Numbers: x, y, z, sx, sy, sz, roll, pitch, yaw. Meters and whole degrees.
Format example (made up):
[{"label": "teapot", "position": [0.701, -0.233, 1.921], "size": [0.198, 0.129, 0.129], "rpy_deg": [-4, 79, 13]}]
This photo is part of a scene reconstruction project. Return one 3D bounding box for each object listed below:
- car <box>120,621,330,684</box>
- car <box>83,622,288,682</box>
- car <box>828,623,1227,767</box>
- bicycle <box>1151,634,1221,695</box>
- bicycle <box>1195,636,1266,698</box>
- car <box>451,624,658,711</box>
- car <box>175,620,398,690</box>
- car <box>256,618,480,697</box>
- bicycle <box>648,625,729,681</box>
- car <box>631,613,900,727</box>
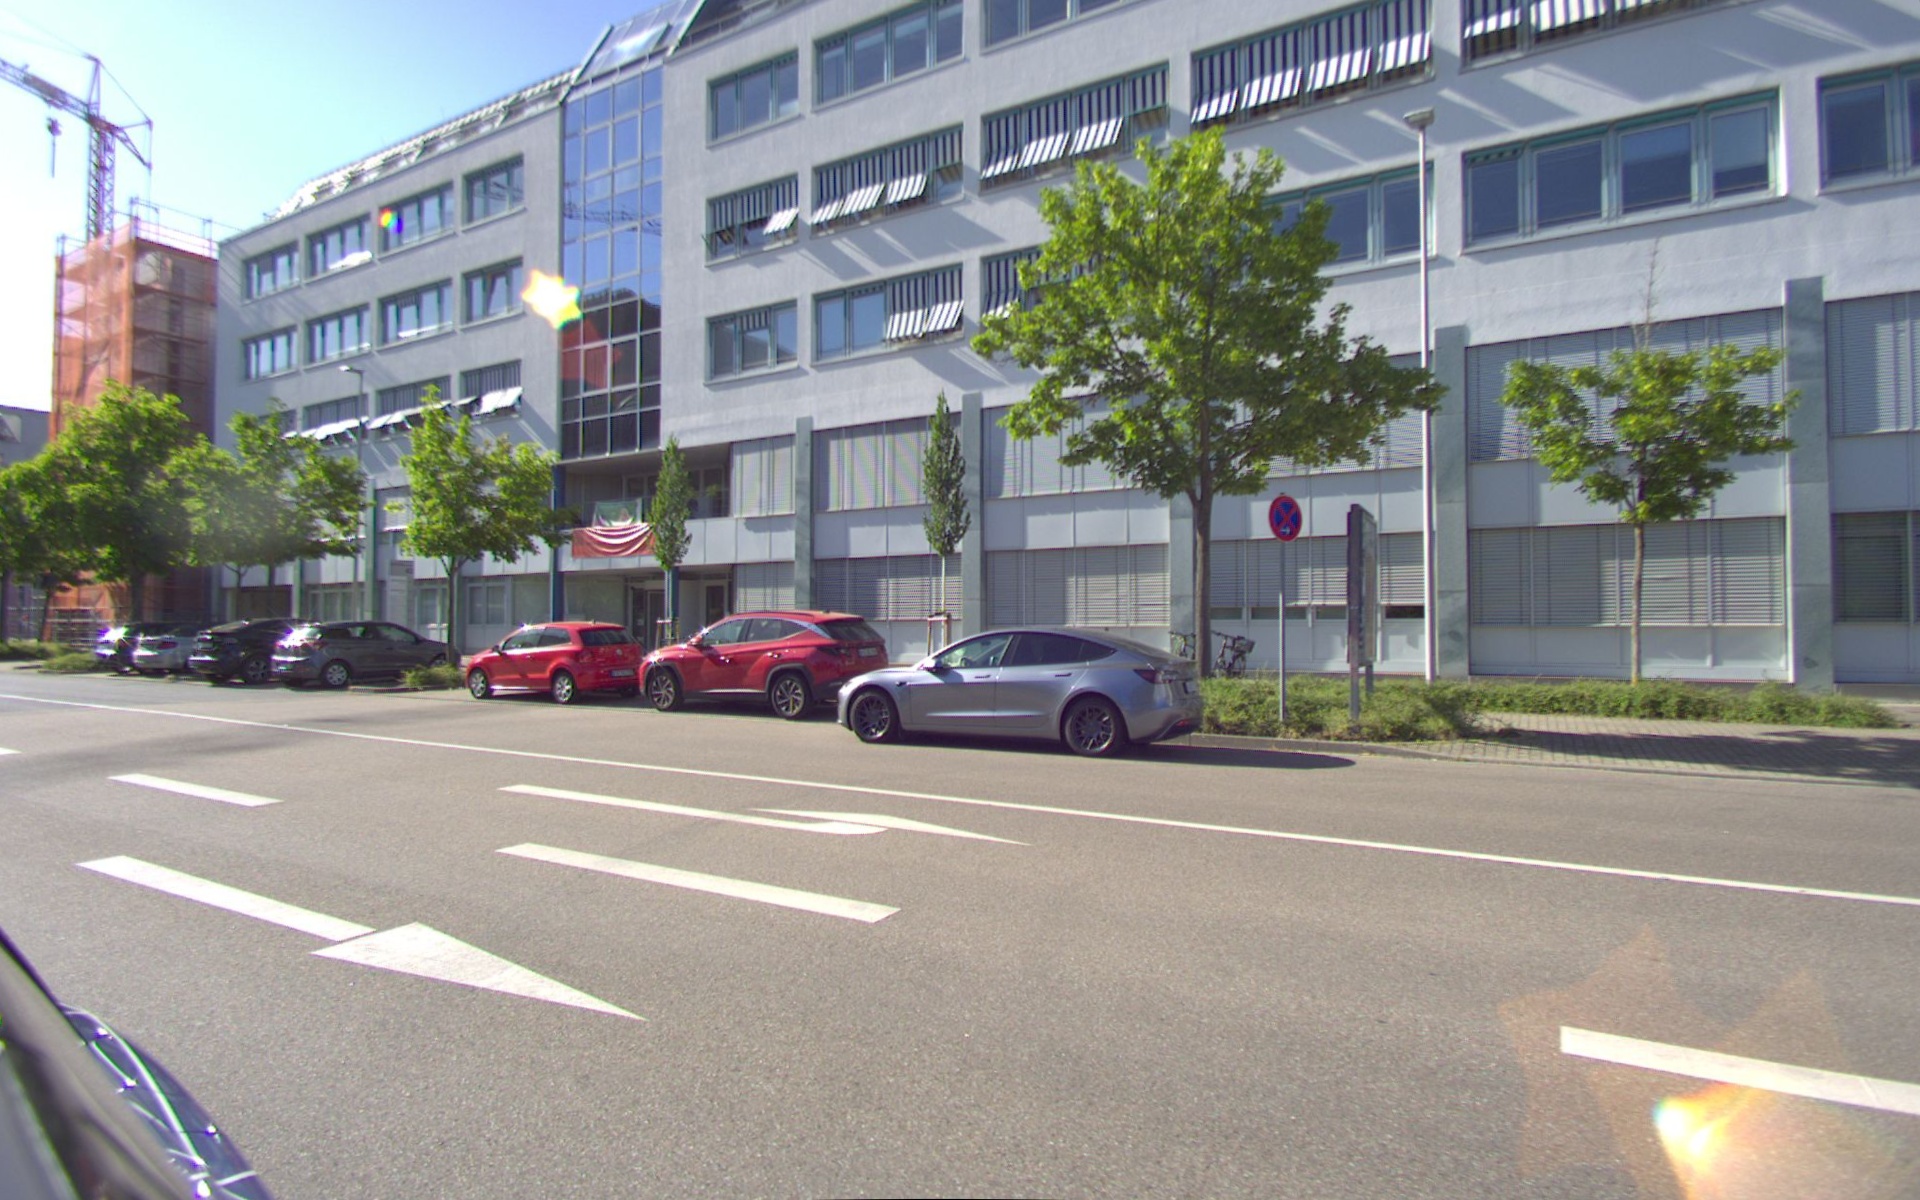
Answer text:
[{"label": "car", "position": [-19.975, 1.369, 27.706], "size": [1.686, 1.443, 4.356], "rpy_deg": [-1, 0, 29]}, {"label": "car", "position": [-21.963, 1.409, 28.884], "size": [1.686, 1.443, 4.356], "rpy_deg": [-1, 0, 29]}, {"label": "car", "position": [0.753, 1.041, 12.207], "size": [4.526, 1.479, 1.677], "rpy_deg": [-1, -3, 28]}, {"label": "bicycle", "position": [4.195, 1.175, 18.688], "size": [0.555, 1.077, 1.750], "rpy_deg": [-1, -3, 38]}, {"label": "bicycle", "position": [4.944, 1.211, 18.440], "size": [0.620, 1.077, 1.771], "rpy_deg": [-1, -3, 38]}, {"label": "car", "position": [-7.746, 1.208, 19.239], "size": [3.857, 1.443, 1.676], "rpy_deg": [-1, 0, 31]}, {"label": "car", "position": [-16.534, 1.294, 25.097], "size": [1.685, 1.443, 4.358], "rpy_deg": [-1, 0, 28]}, {"label": "car", "position": [-13.758, 1.269, 23.825], "size": [1.684, 1.549, 4.361], "rpy_deg": [-1, 0, 26]}, {"label": "bicycle", "position": [-6.859, 1.310, 25.525], "size": [2.228, 1.357, 0.702], "rpy_deg": [-1, -3, 37]}, {"label": "car", "position": [-3.240, 1.063, 16.608], "size": [4.293, 1.619, 1.676], "rpy_deg": [-1, 0, 30]}]
